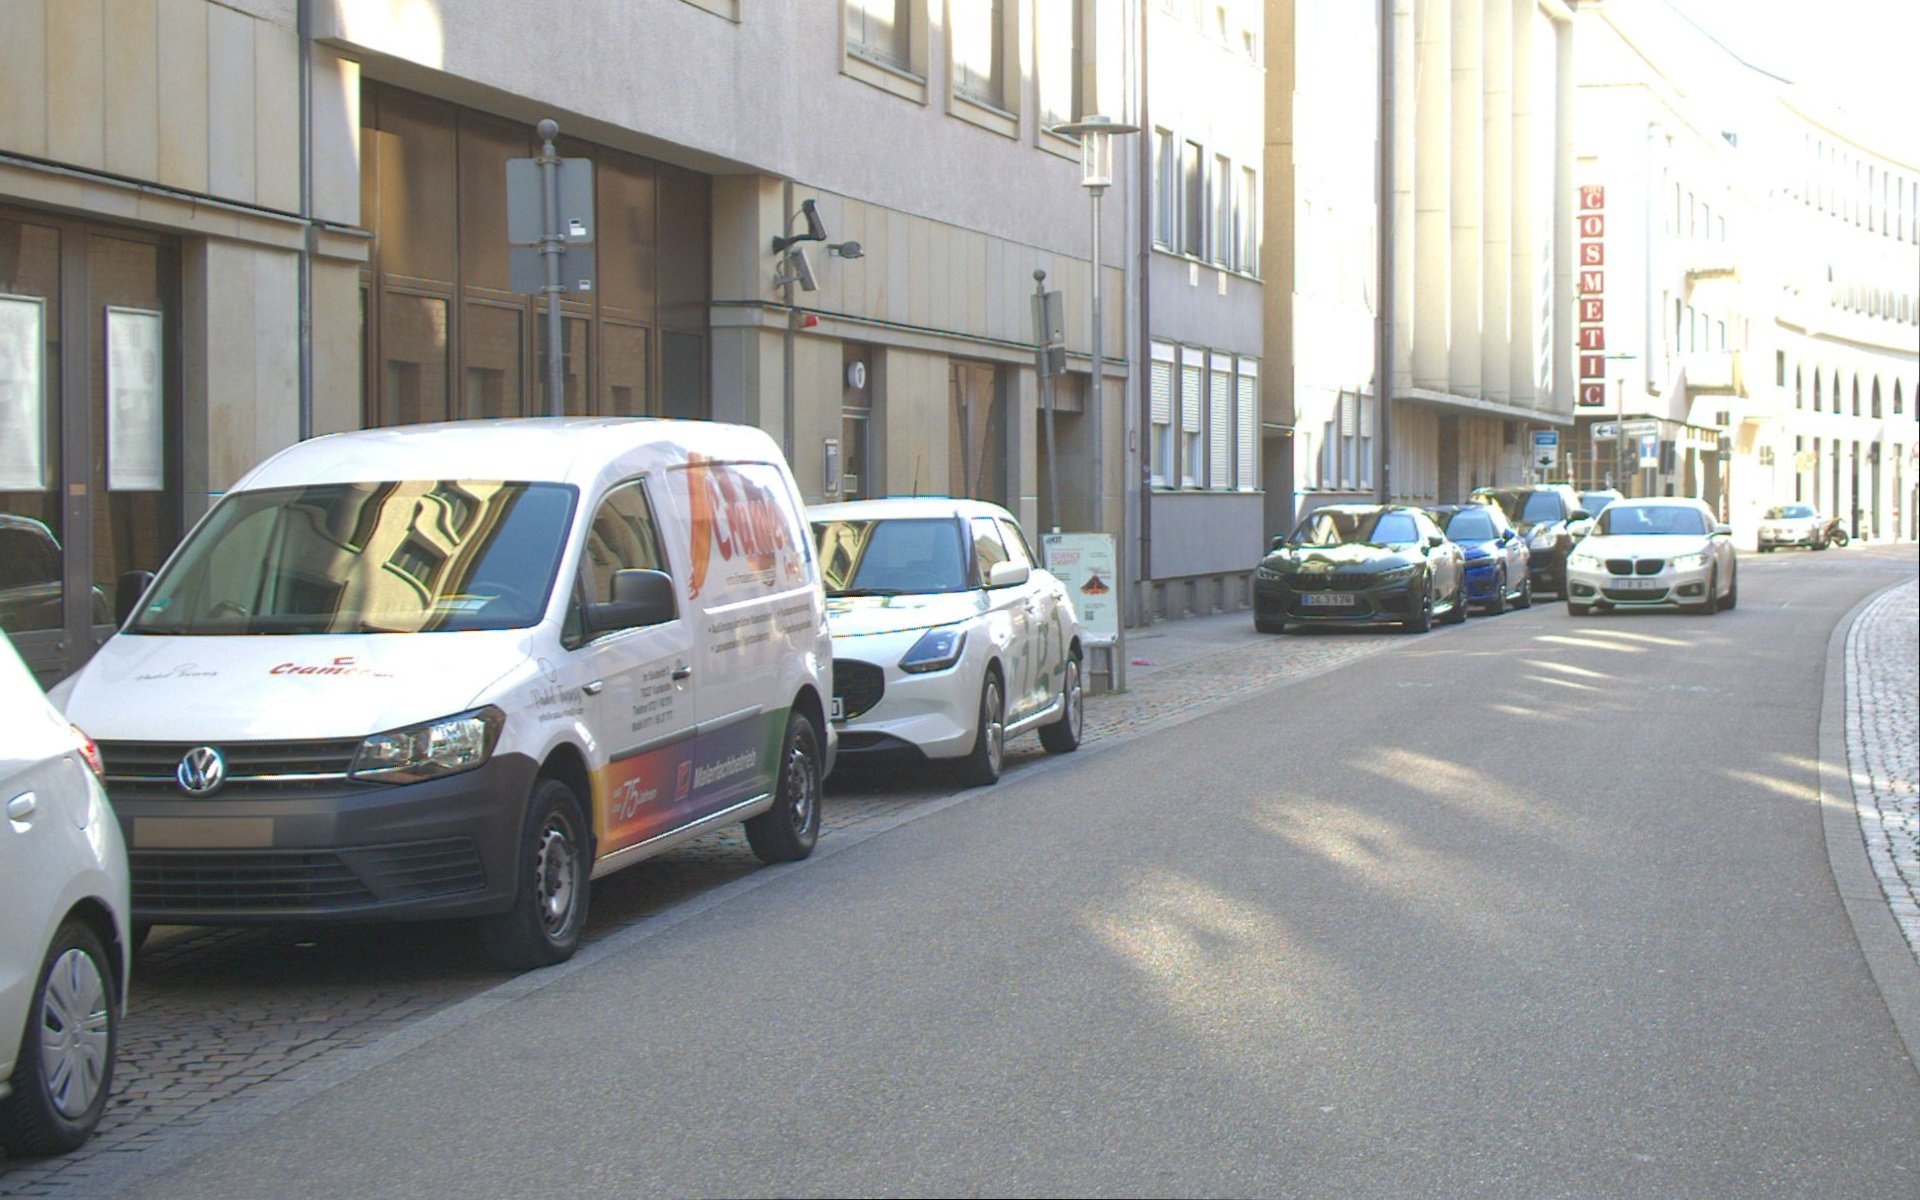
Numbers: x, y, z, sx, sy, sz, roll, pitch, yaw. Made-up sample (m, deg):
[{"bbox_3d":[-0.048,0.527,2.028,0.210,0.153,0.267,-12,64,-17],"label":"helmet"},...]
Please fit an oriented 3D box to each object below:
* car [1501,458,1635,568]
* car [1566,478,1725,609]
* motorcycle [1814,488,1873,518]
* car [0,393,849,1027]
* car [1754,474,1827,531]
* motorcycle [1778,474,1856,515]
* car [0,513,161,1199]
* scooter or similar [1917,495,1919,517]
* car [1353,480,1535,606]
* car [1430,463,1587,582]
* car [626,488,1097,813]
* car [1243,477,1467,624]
[{"bbox_3d":[10.175,-1.481,57.348,1.891,1.736,4.388,0,2,14],"label":"car"},{"bbox_3d":[8.561,-0.745,42.729,1.715,1.512,4.158,0,2,14],"label":"car"},{"bbox_3d":[27.673,-3.037,107.699,1.693,0.856,0.594,3,2,23],"label":"motorcycle"},{"bbox_3d":[-1.919,0.240,12.526,1.900,1.851,4.732,-1,2,12],"label":"car"},{"bbox_3d":[24.463,-2.879,101.193,1.738,1.600,3.530,2,3,18],"label":"car"},{"bbox_3d":[27.840,-3.428,111.664,2.393,1.312,0.861,0,2,18],"label":"motorcycle"},{"bbox_3d":[-3.060,0.627,6.698,1.737,1.487,3.799,-1,2,6],"label":"car"},{"bbox_3d":[39.872,-3.825,140.096,2.221,0.925,0.527,-1,4,-42],"label":"scooter or similar"},{"bbox_3d":[6.358,-0.784,44.835,1.891,1.524,4.337,0,2,14],"label":"car"},{"bbox_3d":[8.159,-1.182,50.818,1.891,1.670,4.551,0,2,14],"label":"car"},{"bbox_3d":[-0.420,0.196,18.698,1.670,1.517,3.774,-2,2,12],"label":"car"},{"bbox_3d":[4.531,-0.606,38.841,1.891,1.524,4.726,0,2,14],"label":"car"}]
